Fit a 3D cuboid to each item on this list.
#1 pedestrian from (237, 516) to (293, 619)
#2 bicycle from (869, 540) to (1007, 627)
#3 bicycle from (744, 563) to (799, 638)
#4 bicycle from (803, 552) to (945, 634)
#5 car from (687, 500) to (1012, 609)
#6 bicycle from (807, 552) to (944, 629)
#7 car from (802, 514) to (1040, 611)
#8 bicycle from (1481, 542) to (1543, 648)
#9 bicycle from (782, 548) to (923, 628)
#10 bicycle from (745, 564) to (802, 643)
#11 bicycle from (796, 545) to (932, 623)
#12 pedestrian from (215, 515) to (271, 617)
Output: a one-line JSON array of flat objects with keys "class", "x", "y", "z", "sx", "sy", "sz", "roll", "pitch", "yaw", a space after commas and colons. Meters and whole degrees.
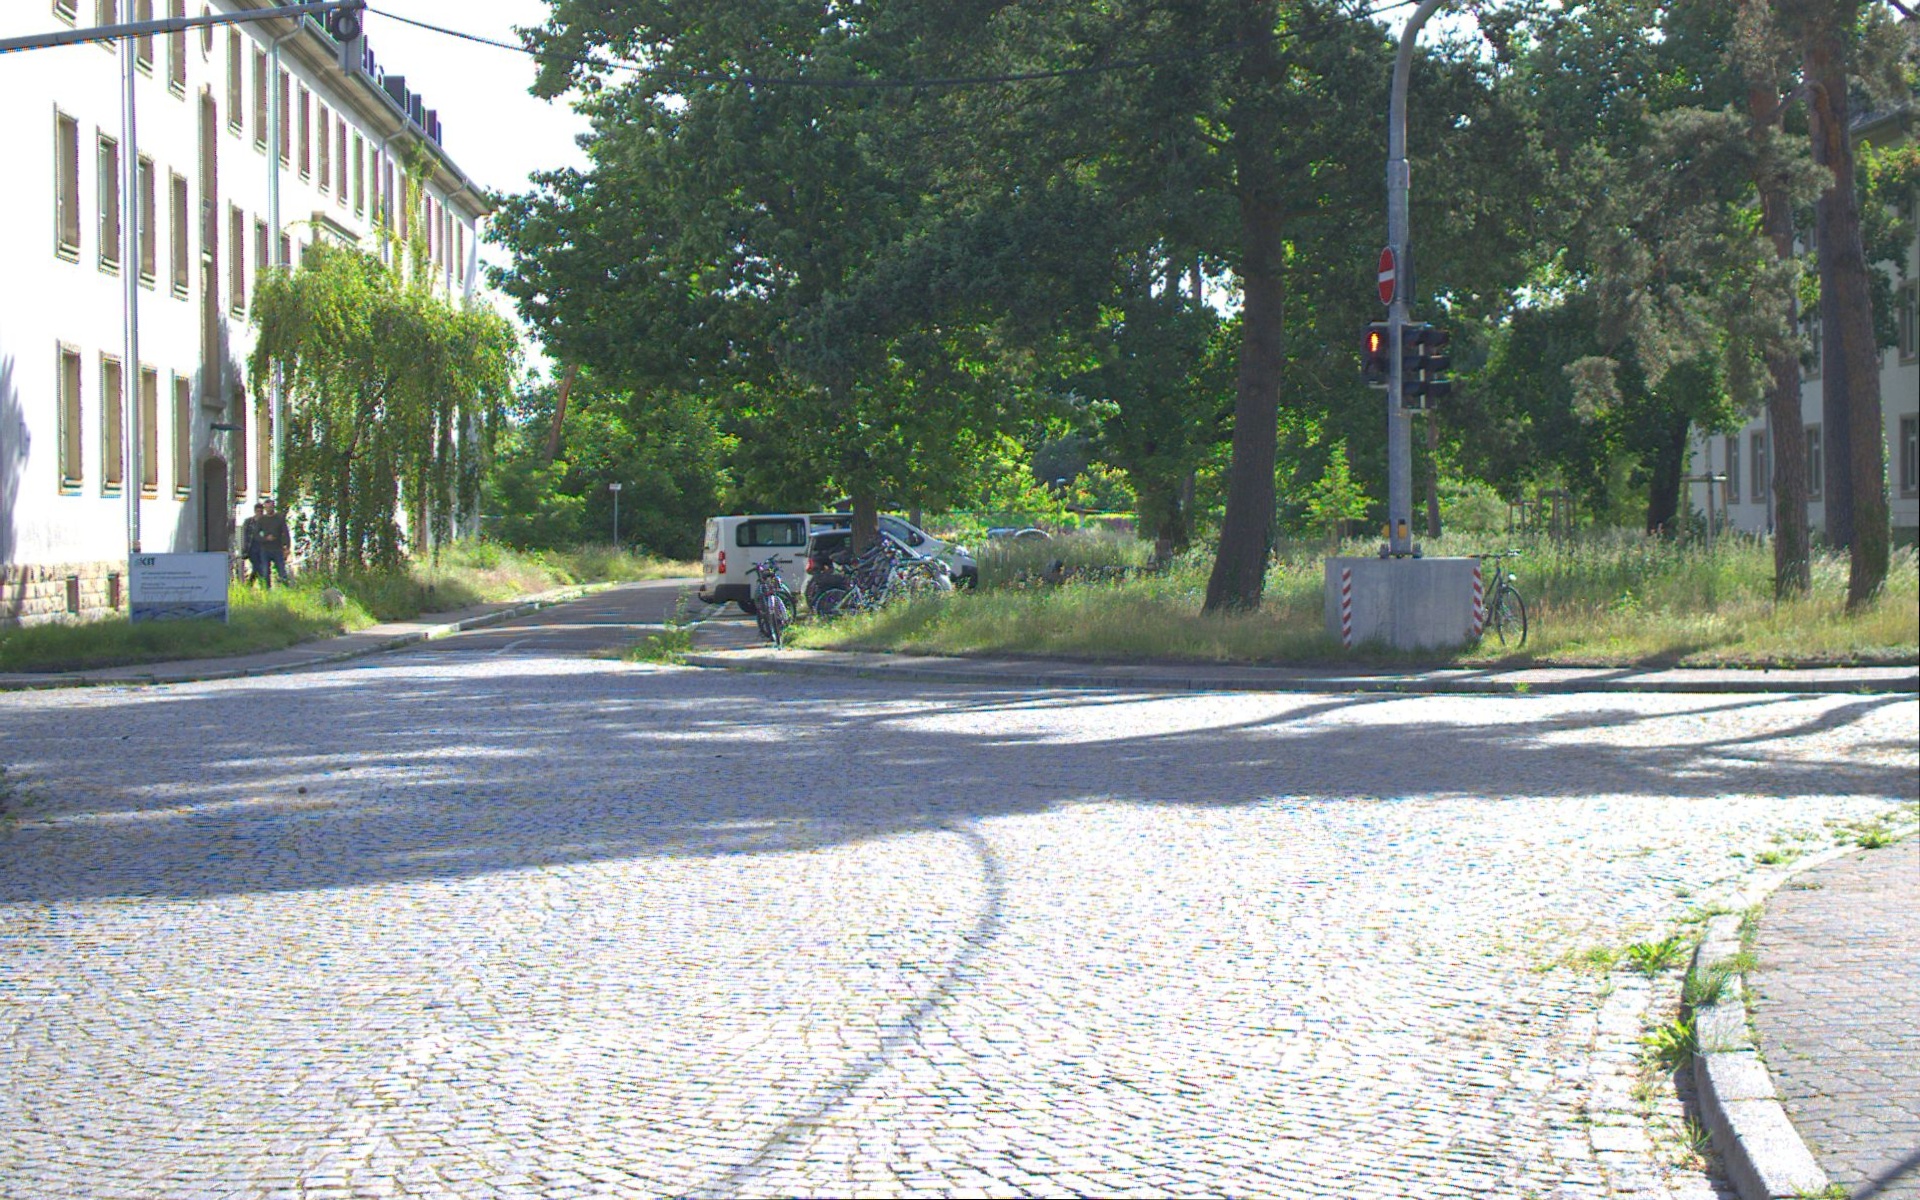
[{"class": "pedestrian", "x": -12.241, "y": -0.574, "z": 60.579, "sx": 0.812, "sy": 1.811, "sz": 0.555, "roll": 0, "pitch": 1, "yaw": 9}, {"class": "bicycle", "x": -0.316, "y": -0.241, "z": 49.053, "sx": 1.940, "sy": 1.231, "sz": 0.485, "roll": 0, "pitch": 1, "yaw": -5}, {"class": "bicycle", "x": -2.530, "y": -0.006, "z": 45.942, "sx": 0.695, "sy": 0.968, "sz": 1.861, "roll": 0, "pitch": 1, "yaw": -4}, {"class": "bicycle", "x": -1.212, "y": -0.110, "z": 48.324, "sx": 1.940, "sy": 1.125, "sz": 0.750, "roll": 0, "pitch": 1, "yaw": -5}, {"class": "car", "x": -2.141, "y": -0.877, "z": 65.518, "sx": 5.929, "sy": 2.007, "sz": 2.476, "roll": 0, "pitch": 1, "yaw": -9}, {"class": "bicycle", "x": -1.174, "y": -0.137, "z": 47.527, "sx": 1.854, "sy": 1.027, "sz": 0.750, "roll": 0, "pitch": 1, "yaw": -5}, {"class": "car", "x": -0.713, "y": -0.679, "z": 61.323, "sx": 3.986, "sy": 1.678, "sz": 1.848, "roll": -1, "pitch": 1, "yaw": -10}, {"class": "bicycle", "x": 5.713, "y": -0.058, "z": 35.603, "sx": 0.466, "sy": 1.076, "sz": 1.174, "roll": 0, "pitch": 1, "yaw": 1}, {"class": "bicycle", "x": -1.542, "y": -0.179, "z": 49.532, "sx": 1.940, "sy": 1.125, "sz": 0.648, "roll": -1, "pitch": 1, "yaw": -29}, {"class": "bicycle", "x": -2.393, "y": 0.040, "z": 44.008, "sx": 0.695, "sy": 0.968, "sz": 1.861, "roll": 0, "pitch": 1, "yaw": -4}, {"class": "bicycle", "x": -1.414, "y": -0.246, "z": 50.623, "sx": 1.940, "sy": 1.125, "sz": 0.648, "roll": 0, "pitch": 1, "yaw": -7}, {"class": "pedestrian", "x": -12.862, "y": -0.618, "z": 61.656, "sx": 0.767, "sy": 1.811, "sz": 0.682, "roll": 0, "pitch": 1, "yaw": 9}]
